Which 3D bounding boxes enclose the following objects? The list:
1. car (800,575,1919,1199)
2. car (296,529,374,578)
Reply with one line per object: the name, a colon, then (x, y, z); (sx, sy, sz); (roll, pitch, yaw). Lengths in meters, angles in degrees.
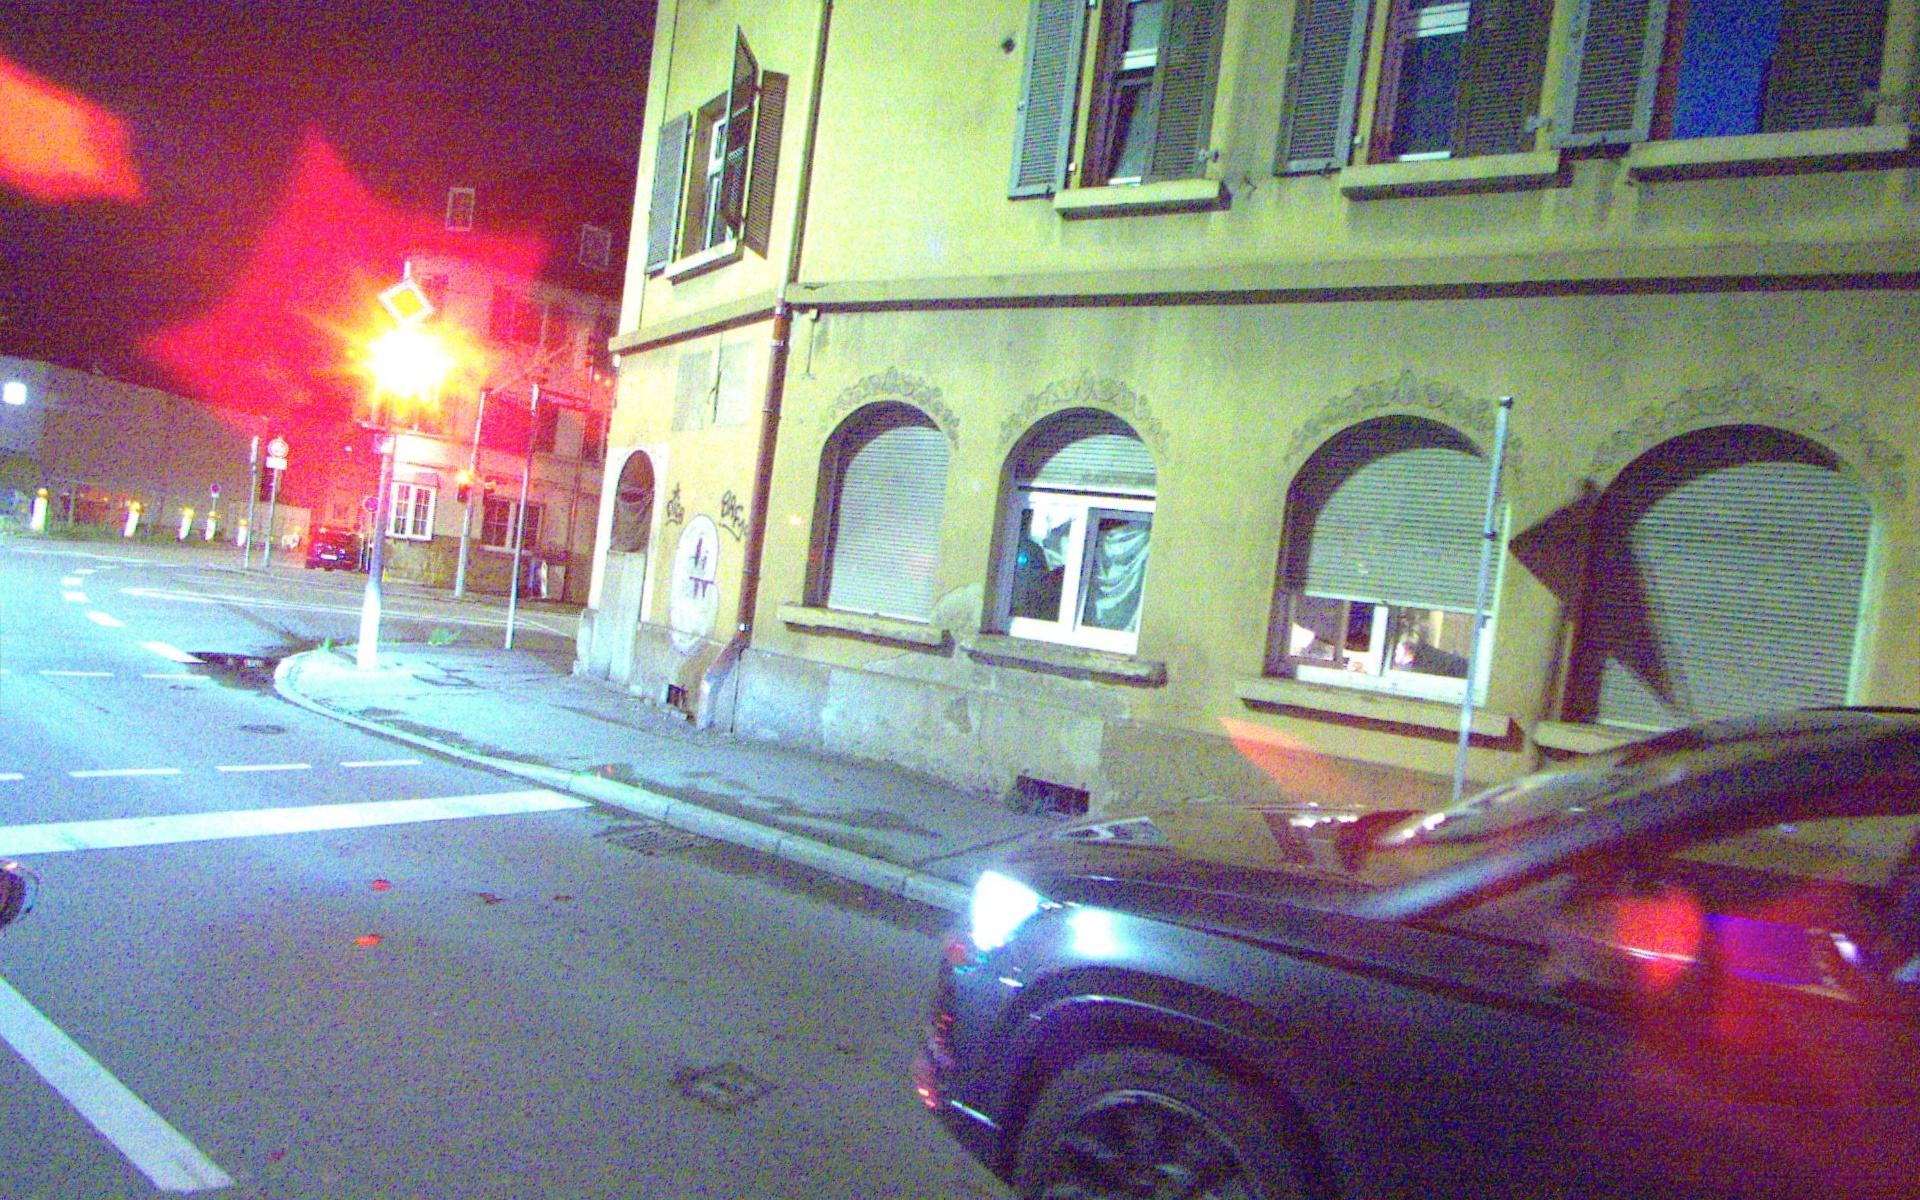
car: (1.889, 1.000, 2.139); (4.157, 1.629, 1.674); (6, -1, 29)
car: (-24.771, -1.809, 40.002); (1.708, 1.631, 3.610); (7, -1, -19)
